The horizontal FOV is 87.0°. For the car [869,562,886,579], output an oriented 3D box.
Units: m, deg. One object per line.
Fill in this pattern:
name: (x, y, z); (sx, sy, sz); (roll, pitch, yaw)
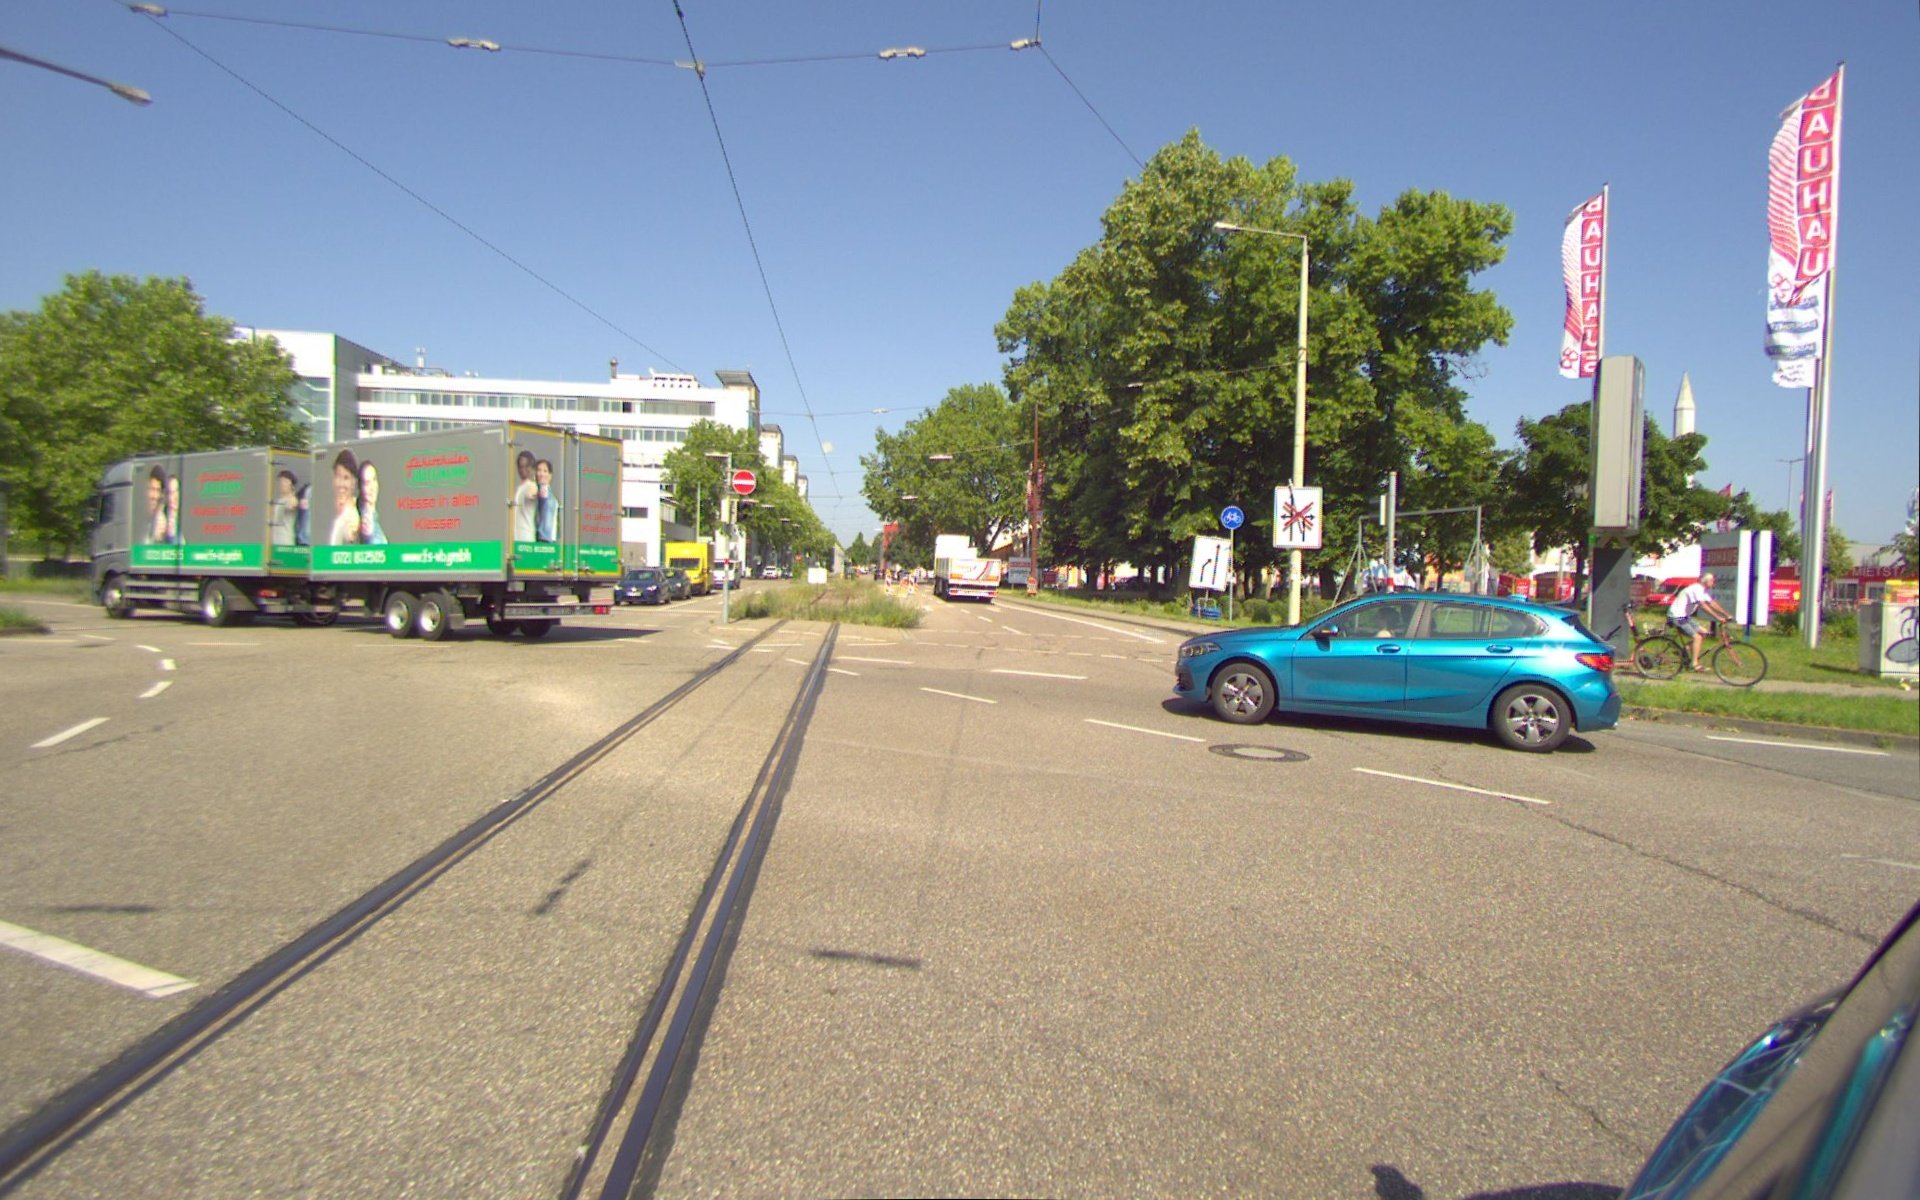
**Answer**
car: (-11.399, -4.067, 139.848); (1.959, 2.039, 4.006); (2, -1, -9)

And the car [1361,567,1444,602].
car: (25.968, -0.902, 59.468); (3.927, 1.861, 1.998); (2, -1, 3)

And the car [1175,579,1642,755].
car: (4.514, 0.561, 10.587); (4.092, 1.438, 1.856); (2, 1, 28)

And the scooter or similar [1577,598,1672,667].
scooter or similar: (12.050, 0.575, 18.384); (1.361, 1.162, 0.432); (2, 2, 28)

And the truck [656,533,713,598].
truck: (-14.819, -1.743, 54.828); (2.252, 3.175, 6.972); (2, -1, -10)

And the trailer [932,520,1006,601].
trailer: (0.272, -2.078, 54.151); (2.760, 3.820, 11.865); (1, 2, -5)

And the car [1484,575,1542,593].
car: (59.765, -1.706, 109.434); (5.049, 1.777, 1.999); (2, -1, 1)

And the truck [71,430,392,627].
truck: (-17.193, -1.518, 23.683); (8.649, 3.939, 2.709); (2, -1, 30)

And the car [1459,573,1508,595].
car: (51.758, -1.563, 100.155); (3.916, 2.039, 2.004); (2, -1, -13)

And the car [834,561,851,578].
car: (-15.278, -3.932, 131.679); (1.959, 2.039, 4.006); (2, -1, -9)

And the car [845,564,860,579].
car: (-16.672, -4.385, 156.705); (1.959, 2.039, 4.005); (2, -1, -8)

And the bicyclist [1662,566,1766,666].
bicyclist: (11.996, 0.229, 16.140); (1.228, 1.495, 0.750); (2, 2, 33)

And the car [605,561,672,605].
car: (-12.669, -0.643, 40.139); (1.959, 1.572, 4.006); (2, -1, -10)

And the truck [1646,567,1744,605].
truck: (52.236, -0.996, 71.969); (5.665, 2.443, 2.002); (2, -1, -6)

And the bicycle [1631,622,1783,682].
bicycle: (11.972, 0.819, 16.288); (1.896, 0.804, 0.528); (3, 2, 32)

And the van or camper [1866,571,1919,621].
van or camper: (61.379, -0.135, 63.853); (7.140, 2.979, 2.002); (2, -1, -6)

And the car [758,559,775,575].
car: (-26.285, -4.469, 137.360); (1.959, 2.039, 4.005); (2, -1, -7)

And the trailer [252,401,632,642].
trailer: (-10.147, -1.333, 19.566); (7.670, 3.926, 2.716); (2, -1, 30)

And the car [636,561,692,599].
car: (-13.590, -0.886, 46.640); (1.959, 1.572, 4.006); (2, -1, -10)

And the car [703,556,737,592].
car: (-16.238, -1.756, 68.603); (1.959, 2.230, 4.006); (2, -1, -10)

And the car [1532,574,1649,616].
car: (28.157, -0.209, 45.319); (3.927, 1.705, 1.998); (2, -1, 3)

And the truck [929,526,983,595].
truck: (-0.294, -2.323, 60.805); (2.744, 3.874, 5.111); (2, 1, -5)
